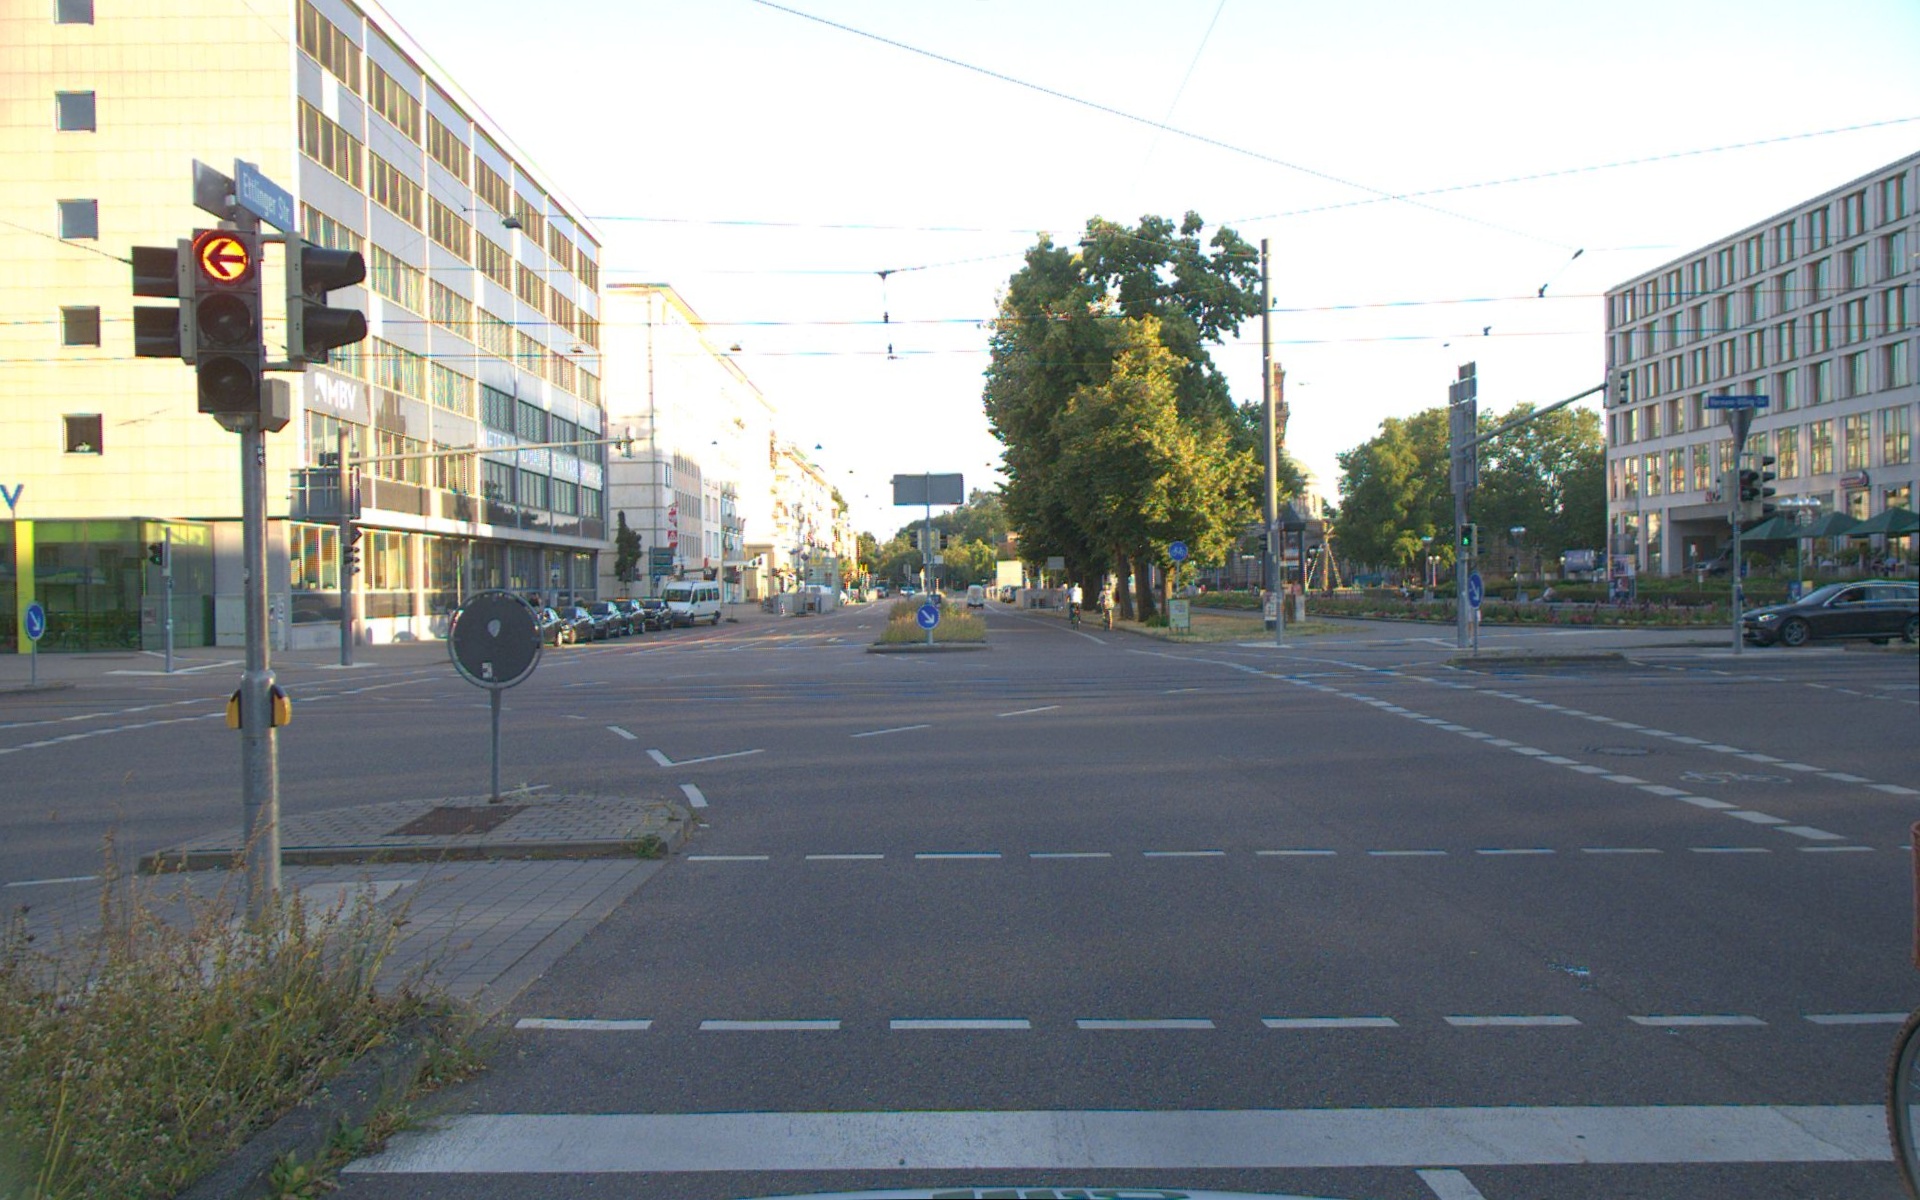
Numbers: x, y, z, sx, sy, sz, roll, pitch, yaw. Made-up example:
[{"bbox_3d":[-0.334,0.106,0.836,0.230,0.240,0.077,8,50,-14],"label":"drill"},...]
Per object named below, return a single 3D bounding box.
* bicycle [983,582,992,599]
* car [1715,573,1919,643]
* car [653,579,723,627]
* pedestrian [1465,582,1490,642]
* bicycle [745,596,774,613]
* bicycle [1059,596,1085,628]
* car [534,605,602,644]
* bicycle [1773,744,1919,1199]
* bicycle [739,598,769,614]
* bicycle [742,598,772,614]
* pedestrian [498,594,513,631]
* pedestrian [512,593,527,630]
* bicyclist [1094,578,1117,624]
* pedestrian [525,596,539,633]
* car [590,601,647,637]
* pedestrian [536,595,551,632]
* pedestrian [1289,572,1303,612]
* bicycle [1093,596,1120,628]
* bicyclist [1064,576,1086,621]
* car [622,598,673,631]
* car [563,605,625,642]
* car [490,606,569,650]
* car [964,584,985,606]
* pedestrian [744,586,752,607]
[{"bbox_3d":[3.419,-1.160,207.514,0.981,2.049,4.002,0,0,4],"label":"bicycle"},{"bbox_3d":[21.079,0.172,39.980,4.724,1.542,2.000,-1,0,1],"label":"car"},{"bbox_3d":[-14.925,0.141,91.008,1.958,2.521,5.873,-1,0,9],"label":"car"},{"bbox_3d":[13.705,0.312,43.810,0.480,1.566,0.408,-1,0,-1],"label":"pedestrian"},{"bbox_3d":[-15.570,0.369,128.650,2.161,1.258,0.839,-1,0,-2],"label":"bicycle"},{"bbox_3d":[4.261,0.443,63.032,0.731,1.164,2.505,-1,0,-1],"label":"bicycle"},{"bbox_3d":[-16.104,0.988,68.184,1.882,1.489,3.999,-1,0,-1],"label":"car"},{"bbox_3d":[2.189,0.917,2.817,0.599,1.152,2.004,1,0,-1],"label":"bicycle"},{"bbox_3d":[-15.568,0.463,125.205,2.161,1.131,0.618,-1,0,-2],"label":"bicycle"},{"bbox_3d":[-15.559,0.443,126.844,2.161,1.131,0.689,-1,0,-2],"label":"bicycle"},{"bbox_3d":[-21.242,0.590,77.341,0.540,1.708,0.500,-1,0,-1],"label":"pedestrian"},{"bbox_3d":[-20.603,0.533,77.326,0.540,1.708,0.500,-1,0,-1],"label":"pedestrian"},{"bbox_3d":[5.452,0.037,61.873,0.731,1.720,0.799,-1,0,-1],"label":"bicyclist"},{"bbox_3d":[-20.141,0.670,77.869,0.490,1.708,0.500,-1,0,-1],"label":"pedestrian"},{"bbox_3d":[-16.119,0.877,78.302,1.882,1.595,3.999,-1,0,-1],"label":"car"},{"bbox_3d":[-19.548,0.635,77.556,0.540,1.708,0.500,-1,0,-1],"label":"pedestrian"},{"bbox_3d":[14.405,-0.338,70.952,0.451,1.685,0.566,-1,0,-1],"label":"pedestrian"},{"bbox_3d":[5.464,0.441,61.868,0.731,1.164,2.505,-1,0,-1],"label":"bicycle"},{"bbox_3d":[4.375,-0.068,62.901,0.731,1.692,0.873,-1,0,-1],"label":"bicyclist"},{"bbox_3d":[-15.944,0.729,84.533,1.882,1.595,3.999,-1,0,-1],"label":"car"},{"bbox_3d":[-16.123,1.008,72.998,1.882,1.489,3.999,-1,0,-1],"label":"car"},{"bbox_3d":[-15.995,1.028,61.654,1.882,1.489,4.102,-1,0,-1],"label":"car"},{"bbox_3d":[1.101,-0.396,127.970,1.379,1.670,3.998,-1,0,-2],"label":"car"},{"bbox_3d":[-21.130,-0.342,164.568,0.666,2.049,0.545,-2,0,-1],"label":"pedestrian"}]
